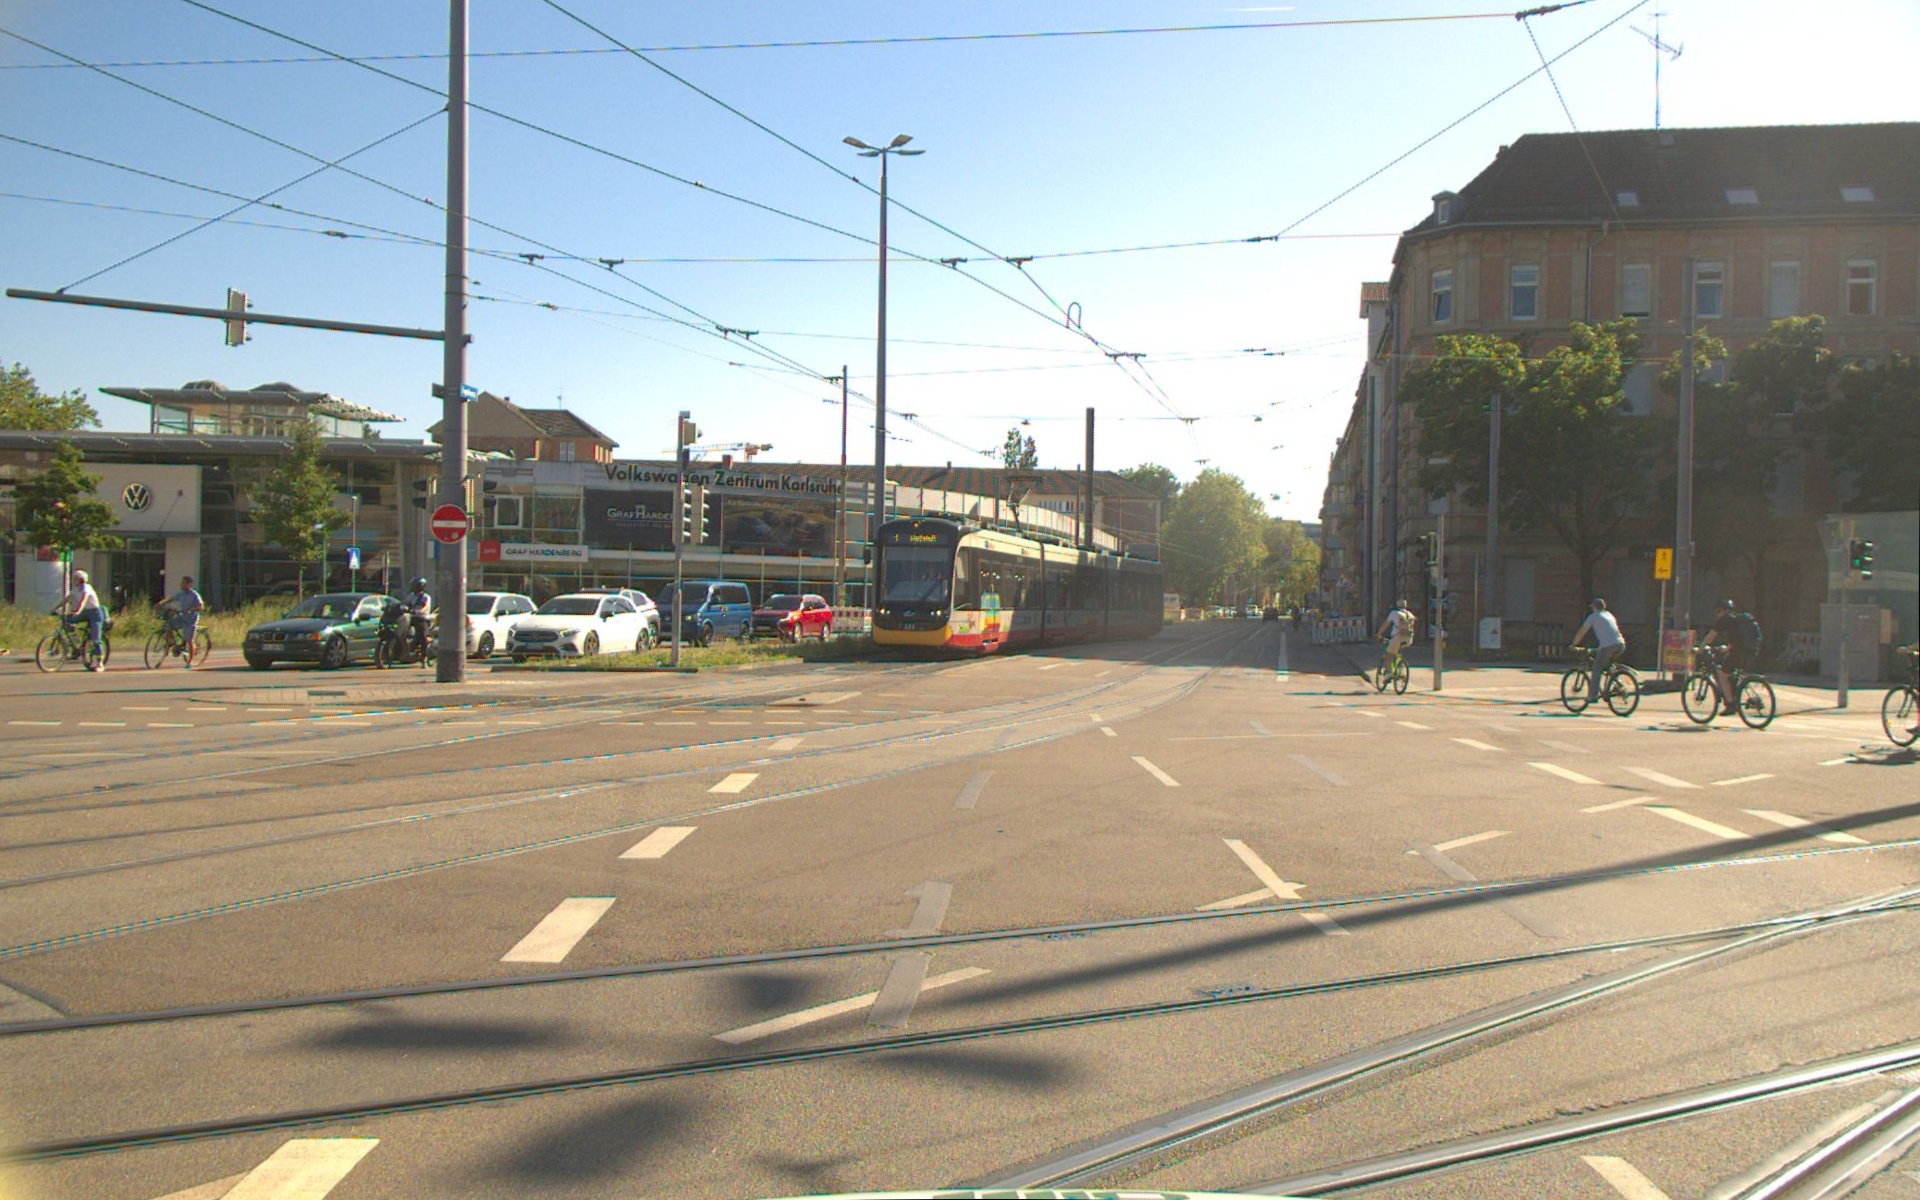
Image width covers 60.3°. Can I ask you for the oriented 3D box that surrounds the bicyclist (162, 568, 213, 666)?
[{"bbox_3d":[-14.366,0.314,30.761,0.562,1.772,0.602,2,2,12],"label":"bicyclist"}]

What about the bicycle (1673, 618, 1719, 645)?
[{"bbox_3d":[25.409,1.080,57.105,1.388,0.871,0.404,3,0,19],"label":"bicycle"}]

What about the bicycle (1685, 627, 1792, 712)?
[{"bbox_3d":[10.965,0.960,23.355,0.521,1.137,1.932,1,-1,-3],"label":"bicycle"}]

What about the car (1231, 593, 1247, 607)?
[{"bbox_3d":[36.879,-0.045,218.661,1.721,1.726,4.147,3,0,12],"label":"car"}]

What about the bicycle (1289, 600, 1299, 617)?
[{"bbox_3d":[23.633,0.608,117.069,0.666,1.134,2.709,2,0,11],"label":"bicycle"}]

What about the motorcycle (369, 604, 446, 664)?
[{"bbox_3d":[-10.287,0.618,30.850,0.507,1.065,1.748,0,0,13],"label":"motorcycle"}]

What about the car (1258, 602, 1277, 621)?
[{"bbox_3d":[34.995,1.261,188.071,1.951,2.049,4.003,3,0,12],"label":"car"}]

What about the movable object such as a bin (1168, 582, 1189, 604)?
[{"bbox_3d":[27.707,-0.885,209.783,2.442,2.691,5.994,3,0,9],"label":"movable object such as a bin"}]

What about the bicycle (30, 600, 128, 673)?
[{"bbox_3d":[-15.502,0.627,29.159,0.526,1.204,1.755,0,1,12],"label":"bicycle"}]

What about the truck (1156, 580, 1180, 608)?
[{"bbox_3d":[22.555,-0.653,179.173,2.484,2.879,6.381,3,0,8],"label":"truck"}]

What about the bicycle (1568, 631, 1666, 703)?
[{"bbox_3d":[10.591,1.062,26.734,0.380,1.087,1.925,0,0,-16],"label":"bicycle"}]

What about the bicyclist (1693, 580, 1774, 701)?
[{"bbox_3d":[10.875,0.558,23.289,0.611,1.641,0.981,2,0,-1],"label":"bicyclist"}]

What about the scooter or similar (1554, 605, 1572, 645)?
[{"bbox_3d":[18.848,0.767,51.695,0.264,1.217,1.566,2,0,12],"label":"scooter or similar"}]

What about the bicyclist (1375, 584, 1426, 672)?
[{"bbox_3d":[8.798,0.552,33.043,0.667,1.713,1.120,2,0,1],"label":"bicyclist"}]

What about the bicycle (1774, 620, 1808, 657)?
[{"bbox_3d":[25.419,1.162,50.607,0.394,1.080,1.463,2,0,5],"label":"bicycle"}]

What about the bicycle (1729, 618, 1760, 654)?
[{"bbox_3d":[24.340,1.109,51.313,0.394,1.080,1.463,2,0,8],"label":"bicycle"}]

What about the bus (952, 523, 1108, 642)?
[{"bbox_3d":[2.634,-0.561,56.960,2.781,3.652,10.732,1,0,16],"label":"bus"}]

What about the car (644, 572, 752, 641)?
[{"bbox_3d":[-7.849,0.205,49.927,1.764,1.967,4.168,0,-1,14],"label":"car"}]

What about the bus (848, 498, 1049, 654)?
[{"bbox_3d":[0.071,-0.594,46.113,2.780,3.652,13.507,1,0,12],"label":"bus"}]

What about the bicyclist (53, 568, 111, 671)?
[{"bbox_3d":[-15.483,0.337,29.189,0.562,1.772,0.678,2,1,12],"label":"bicyclist"}]

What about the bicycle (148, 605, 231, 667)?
[{"bbox_3d":[-14.364,0.661,30.882,0.526,1.092,1.656,0,1,12],"label":"bicycle"}]

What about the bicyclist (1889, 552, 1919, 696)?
[{"bbox_3d":[11.211,0.283,18.908,0.539,1.641,0.952,3,0,-4],"label":"bicyclist"}]

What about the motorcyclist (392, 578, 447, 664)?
[{"bbox_3d":[-10.192,0.393,31.202,0.572,1.607,0.944,0,-1,13],"label":"motorcyclist"}]

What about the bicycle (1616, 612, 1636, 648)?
[{"bbox_3d":[20.731,0.928,51.485,0.395,1.080,1.483,2,0,17],"label":"bicycle"}]

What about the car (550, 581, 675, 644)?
[{"bbox_3d":[-9.292,0.345,44.546,1.764,1.606,4.168,0,-1,12],"label":"car"}]

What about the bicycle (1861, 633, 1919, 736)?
[{"bbox_3d":[11.180,0.983,18.956,0.521,1.137,1.932,2,0,-3],"label":"bicycle"}]

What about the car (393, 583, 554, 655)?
[{"bbox_3d":[-10.975,0.420,37.599,1.764,1.457,4.003,3,0,12],"label":"car"}]

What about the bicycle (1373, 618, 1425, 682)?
[{"bbox_3d":[8.776,0.978,33.119,0.520,1.136,1.934,2,2,1],"label":"bicycle"}]

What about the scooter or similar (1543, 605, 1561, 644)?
[{"bbox_3d":[18.532,0.766,51.769,0.264,1.205,1.566,2,0,12],"label":"scooter or similar"}]

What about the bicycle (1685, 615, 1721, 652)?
[{"bbox_3d":[22.936,1.021,51.064,0.395,1.080,1.351,3,0,-4],"label":"bicycle"}]

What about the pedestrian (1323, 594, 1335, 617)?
[{"bbox_3d":[26.861,0.396,120.348,0.781,1.633,0.653,1,-1,13],"label":"pedestrian"}]

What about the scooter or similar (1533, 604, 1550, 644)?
[{"bbox_3d":[18.227,0.752,51.822,0.264,1.205,1.566,2,0,12],"label":"scooter or similar"}]

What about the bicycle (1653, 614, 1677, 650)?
[{"bbox_3d":[21.886,0.999,51.324,0.394,1.080,1.353,2,0,12],"label":"bicycle"}]

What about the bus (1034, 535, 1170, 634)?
[{"bbox_3d":[5.994,-0.578,67.509,2.782,3.652,11.274,1,0,19],"label":"bus"}]

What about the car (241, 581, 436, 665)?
[{"bbox_3d":[-11.820,0.420,31.722,1.614,1.505,3.974,0,0,12],"label":"car"}]

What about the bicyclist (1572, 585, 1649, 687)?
[{"bbox_3d":[10.544,0.579,26.835,0.769,1.621,0.882,1,0,-15],"label":"bicyclist"}]

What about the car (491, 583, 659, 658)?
[{"bbox_3d":[-8.294,0.439,36.080,1.764,1.457,4.544,3,0,12],"label":"car"}]

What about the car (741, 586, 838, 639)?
[{"bbox_3d":[-5.855,0.427,57.355,1.761,1.749,4.419,0,-1,17],"label":"car"}]
